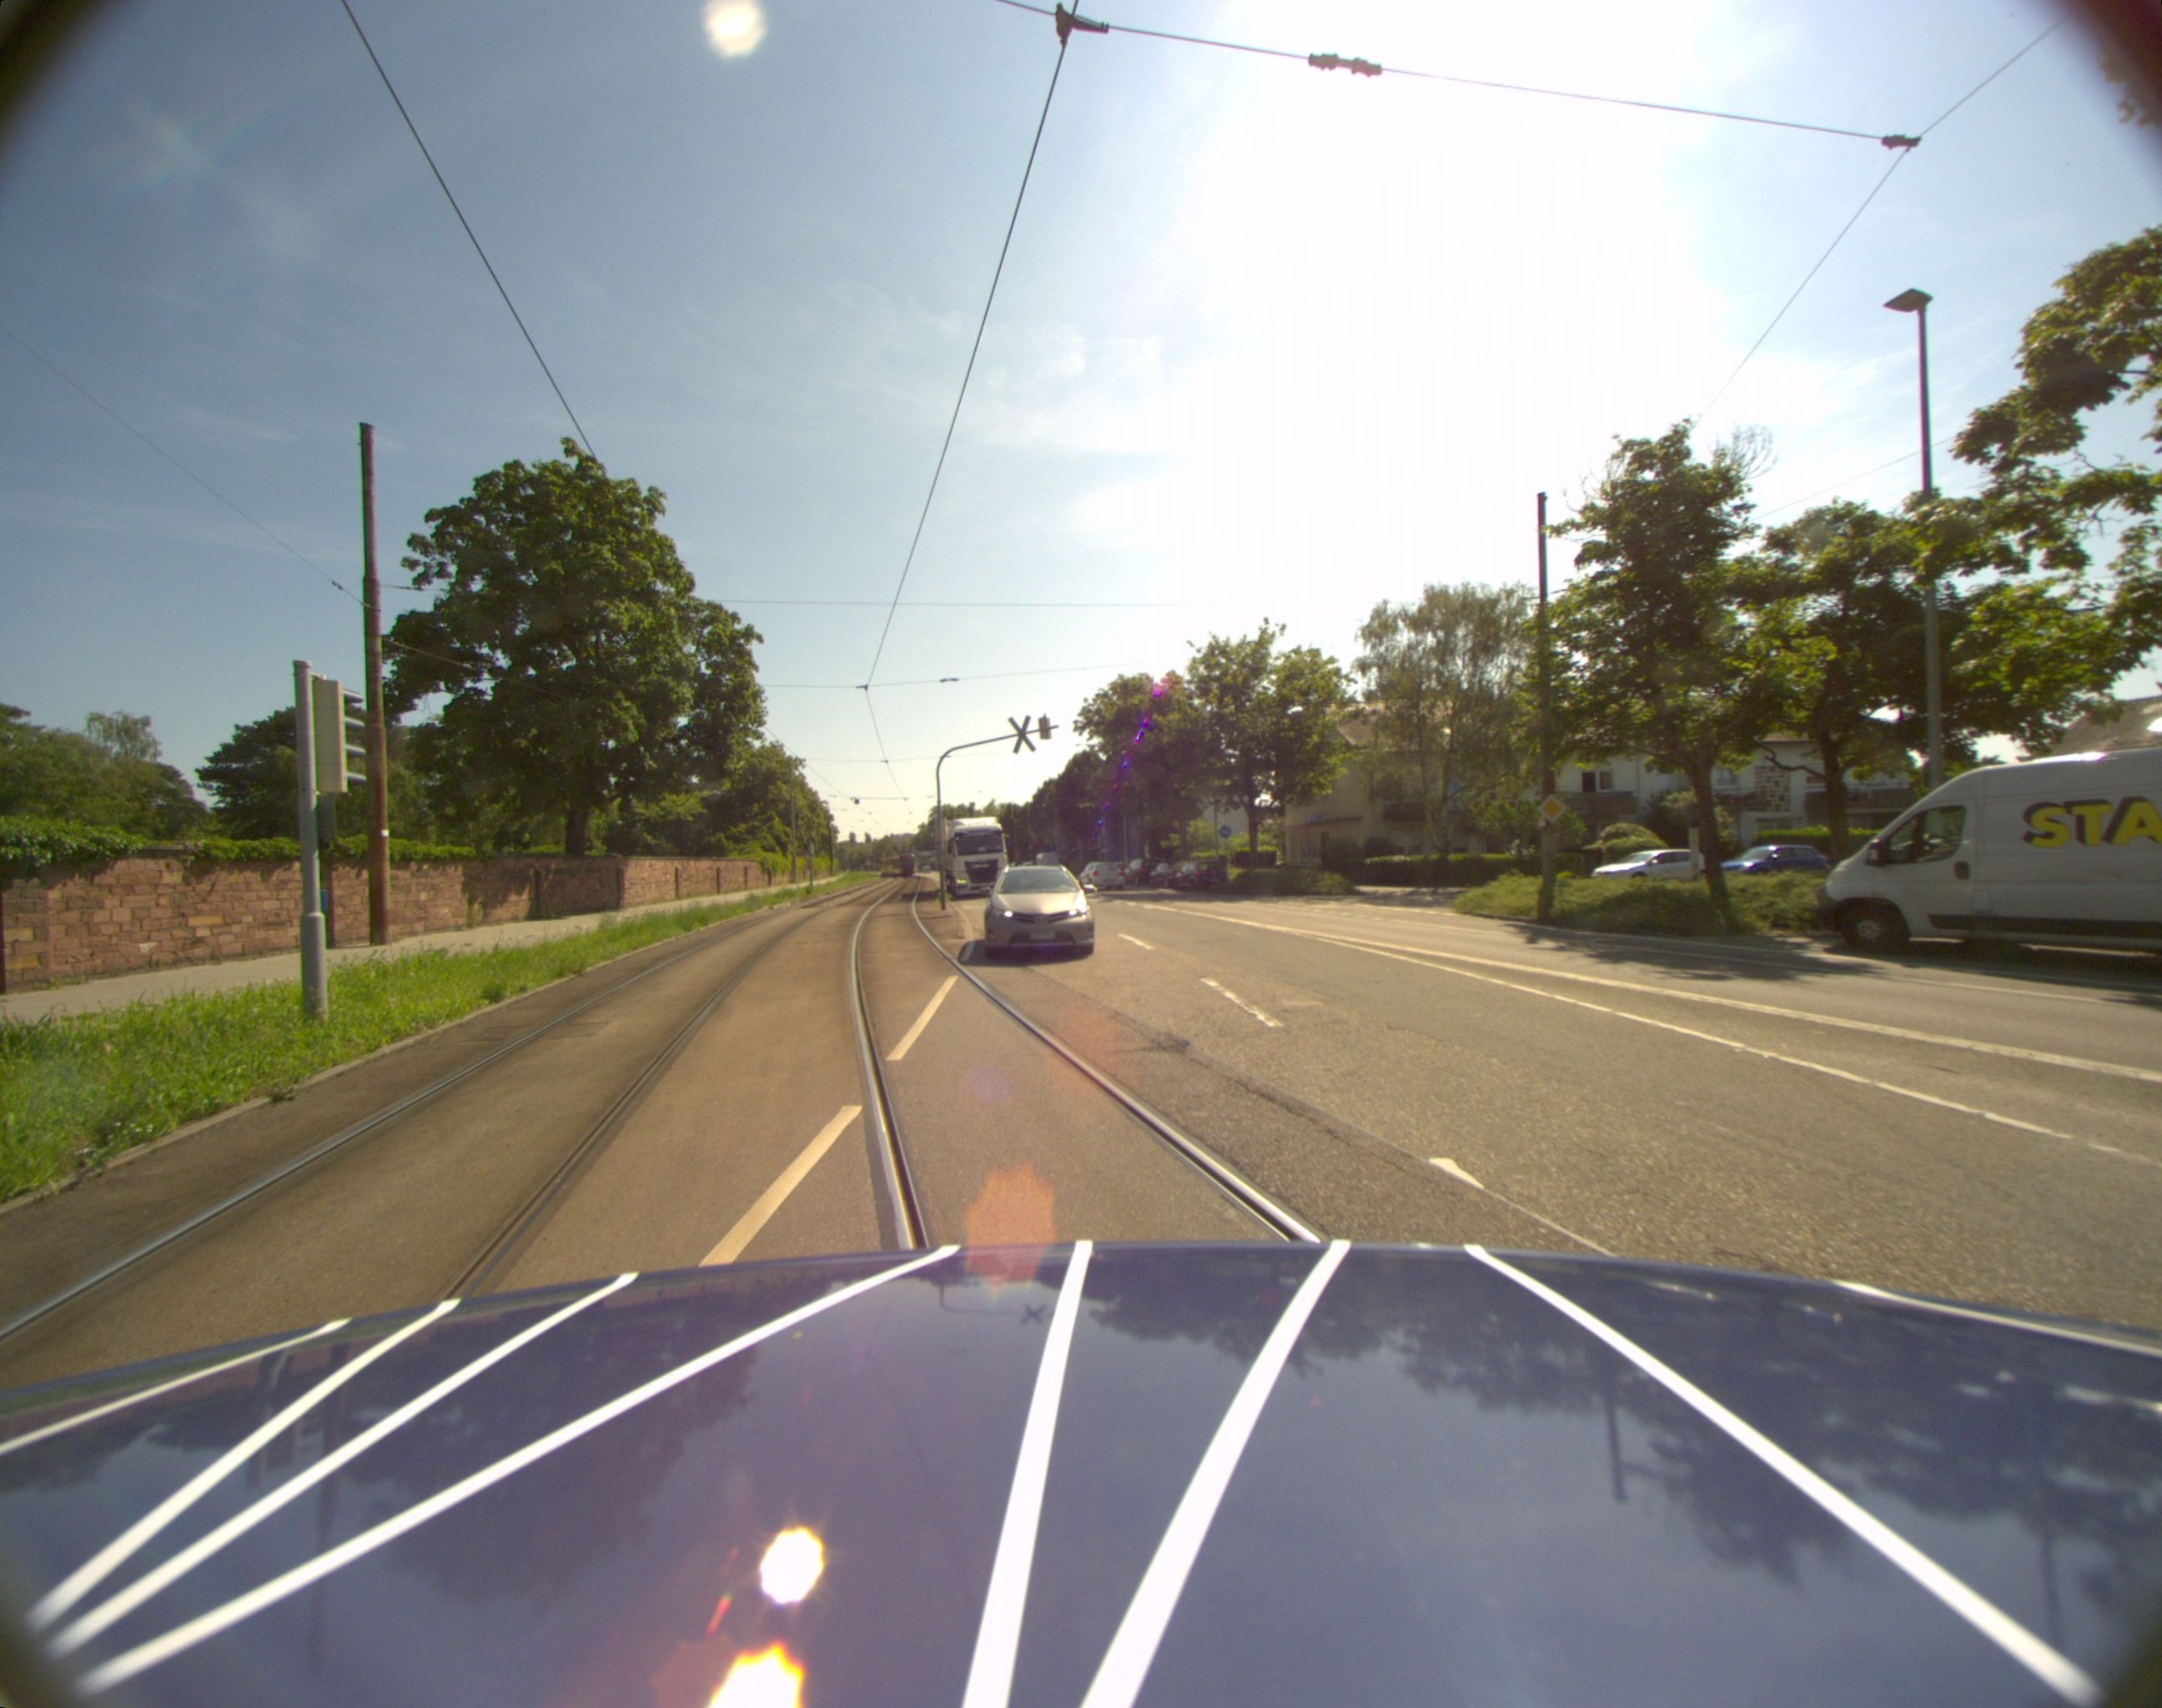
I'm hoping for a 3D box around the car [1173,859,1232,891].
[{"bbox_3d":[5.885,1.010,37.287,1.621,1.442,4.080,-2,-1,-10],"label":"car"}]

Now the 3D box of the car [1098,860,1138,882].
[{"bbox_3d":[2.584,1.196,54.197,1.681,1.427,4.453,-2,-1,-13],"label":"car"}]

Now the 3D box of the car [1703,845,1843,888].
[{"bbox_3d":[27.068,0.463,29.799,3.999,1.516,1.807,-2,0,-5],"label":"car"}]

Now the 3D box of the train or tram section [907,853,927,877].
[{"bbox_3d":[-27.082,1.776,125.664,2.679,3.631,15.291,-4,0,-11],"label":"train or tram section"}]

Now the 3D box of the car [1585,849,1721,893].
[{"bbox_3d":[22.041,0.632,29.349,3.999,1.516,1.807,-2,0,-5],"label":"car"}]

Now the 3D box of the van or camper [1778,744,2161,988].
[{"bbox_3d":[12.110,0.106,8.552,2.265,2.499,6.142,-2,-1,-10],"label":"van or camper"}]

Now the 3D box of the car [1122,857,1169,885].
[{"bbox_3d":[3.968,1.017,47.600,1.681,1.603,4.238,-2,0,-13],"label":"car"}]

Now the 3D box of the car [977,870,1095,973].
[{"bbox_3d":[-0.798,1.047,13.345,1.720,1.439,4.029,-1,0,-4],"label":"car"}]

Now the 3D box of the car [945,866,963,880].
[{"bbox_3d":[-12.459,1.865,74.340,1.702,1.248,3.997,-2,0,-11],"label":"car"}]

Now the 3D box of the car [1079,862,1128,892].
[{"bbox_3d":[1.100,1.159,39.590,1.733,1.456,3.997,0,-1,-11],"label":"car"}]

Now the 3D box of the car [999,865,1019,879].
[{"bbox_3d":[-7.720,1.903,81.255,1.791,1.401,4.301,0,-1,-11],"label":"car"}]

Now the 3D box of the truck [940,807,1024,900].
[{"bbox_3d":[-5.878,0.017,42.138,3.394,4.046,14.273,-4,0,-11],"label":"truck"}]

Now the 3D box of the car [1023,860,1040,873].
[{"bbox_3d":[-6.405,1.608,98.208,1.680,1.659,4.144,-2,0,-11],"label":"car"}]

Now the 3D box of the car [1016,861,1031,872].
[{"bbox_3d":[-8.235,1.796,107.835,1.680,1.493,3.763,-1,-1,-11],"label":"car"}]

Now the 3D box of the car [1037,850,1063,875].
[{"bbox_3d":[-3.513,0.928,84.556,2.018,2.635,6.080,-1,0,-11],"label":"car"}]

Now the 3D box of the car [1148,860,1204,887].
[{"bbox_3d":[5.195,1.072,42.111,1.702,1.387,4.577,-2,-1,-11],"label":"car"}]

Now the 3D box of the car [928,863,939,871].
[{"bbox_3d":[-35.523,3.093,182.654,2.002,2.002,3.994,-1,0,-19],"label":"car"}]

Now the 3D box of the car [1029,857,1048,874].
[{"bbox_3d":[-5.177,1.407,92.704,1.680,1.925,4.454,-2,0,-11],"label":"car"}]
